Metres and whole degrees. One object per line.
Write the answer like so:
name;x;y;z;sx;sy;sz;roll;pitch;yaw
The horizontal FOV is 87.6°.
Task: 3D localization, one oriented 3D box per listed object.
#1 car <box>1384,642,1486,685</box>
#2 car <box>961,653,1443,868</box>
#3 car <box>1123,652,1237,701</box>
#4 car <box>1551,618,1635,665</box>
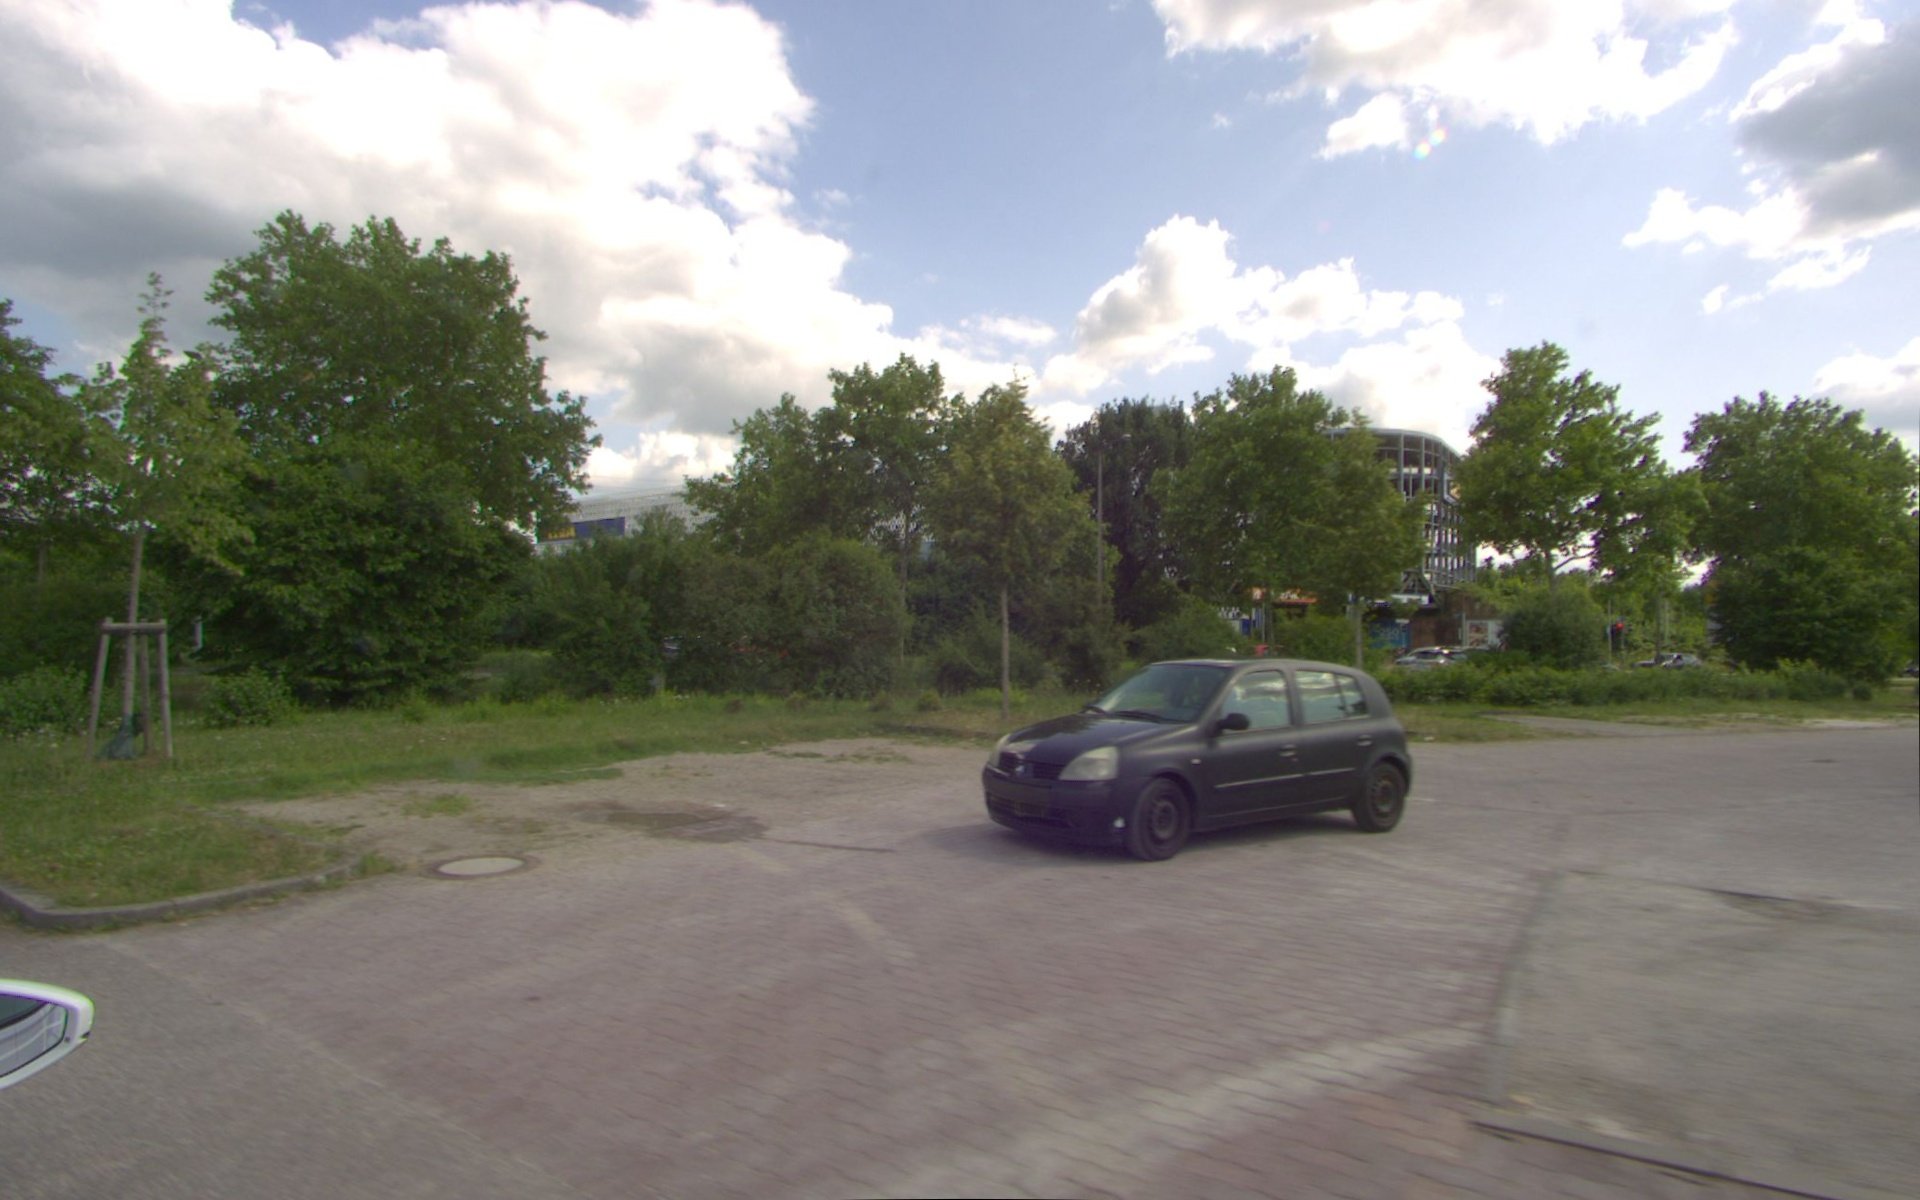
car;21.442;2.865;45.235;3.934;1.736;1.996;-1;-3;-23
car;2.012;1.112;8.050;3.734;1.338;1.603;2;-2;-31
car;8.766;3.047;39.952;3.934;1.736;1.996;-1;-3;-23
car;36.038;2.410;57.021;4.083;2.573;1.734;1;-4;-16
